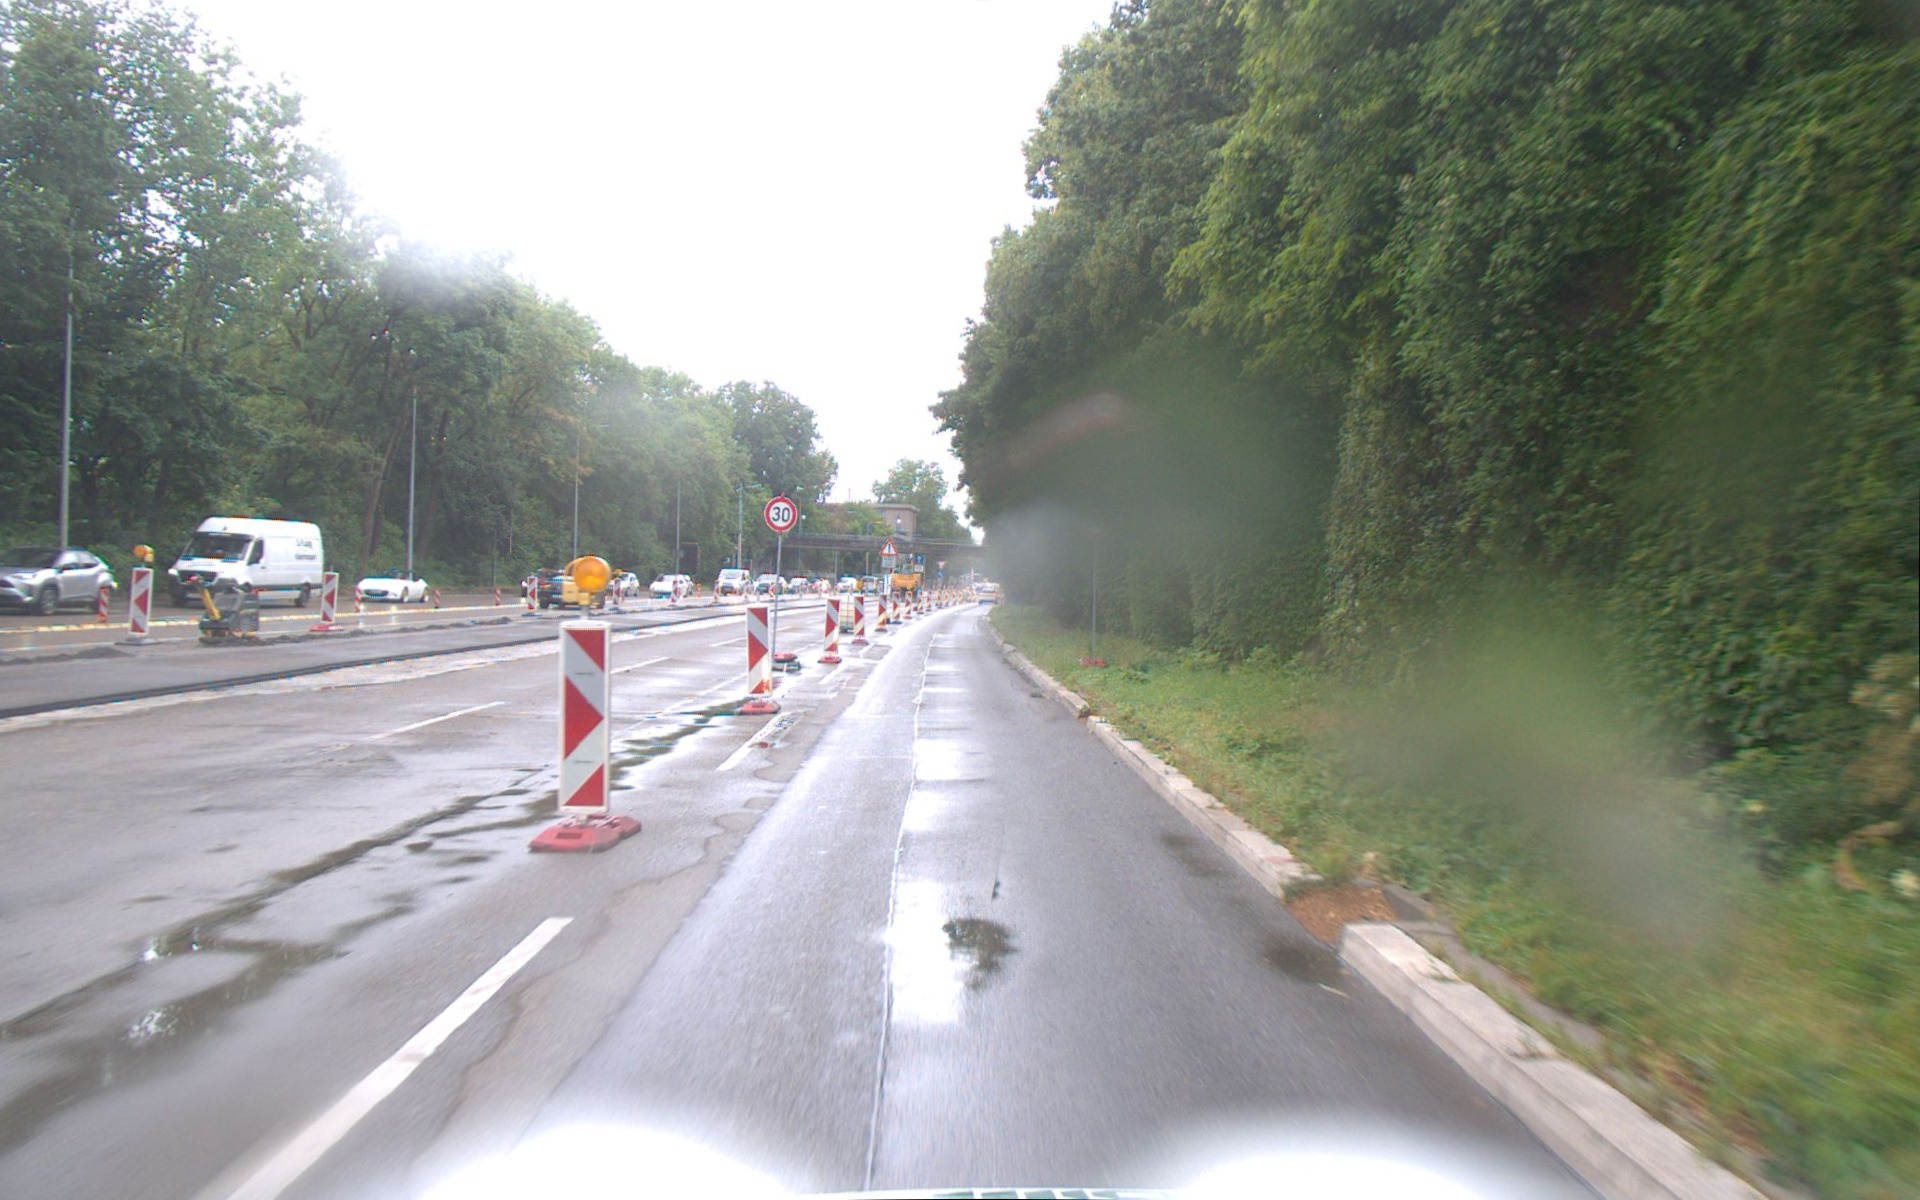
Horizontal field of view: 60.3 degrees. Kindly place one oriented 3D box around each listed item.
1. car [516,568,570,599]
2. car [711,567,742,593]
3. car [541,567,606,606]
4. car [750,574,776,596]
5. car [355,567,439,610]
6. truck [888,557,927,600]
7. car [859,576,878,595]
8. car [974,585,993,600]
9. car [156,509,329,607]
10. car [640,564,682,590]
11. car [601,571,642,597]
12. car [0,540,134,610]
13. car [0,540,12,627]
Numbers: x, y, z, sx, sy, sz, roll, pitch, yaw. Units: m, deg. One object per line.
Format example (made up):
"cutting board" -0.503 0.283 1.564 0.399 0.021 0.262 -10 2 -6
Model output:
"car" -21.410 -0.852 85.081 1.635 1.511 4.320 1 1 0
"car" -17.288 -1.472 122.670 1.635 1.840 4.320 1 1 0
"car" -15.210 -0.540 65.219 1.574 1.429 4.041 1 1 0
"car" -16.721 -1.296 140.698 1.635 1.840 4.320 1 1 0
"car" -21.119 -0.454 62.204 1.635 1.511 4.320 1 1 0
"truck" -4.701 -1.936 149.712 3.193 3.558 13.868 1 1 -1
"car" -9.474 -1.492 171.939 1.635 1.840 4.321 1 2 0
"car" 2.220 -0.688 156.287 1.663 1.359 3.490 -1 0 -1
"car" -21.005 -1.198 48.856 2.056 2.624 6.854 1 1 0
"car" -17.771 -1.359 98.431 1.635 1.511 4.320 1 1 0
"car" -20.645 -0.977 101.003 1.635 1.511 4.049 1 1 0
"car" -20.964 -0.576 38.110 1.635 1.511 4.320 1 1 0
"car" -18.123 -0.303 27.670 1.919 1.557 4.437 1 1 0
